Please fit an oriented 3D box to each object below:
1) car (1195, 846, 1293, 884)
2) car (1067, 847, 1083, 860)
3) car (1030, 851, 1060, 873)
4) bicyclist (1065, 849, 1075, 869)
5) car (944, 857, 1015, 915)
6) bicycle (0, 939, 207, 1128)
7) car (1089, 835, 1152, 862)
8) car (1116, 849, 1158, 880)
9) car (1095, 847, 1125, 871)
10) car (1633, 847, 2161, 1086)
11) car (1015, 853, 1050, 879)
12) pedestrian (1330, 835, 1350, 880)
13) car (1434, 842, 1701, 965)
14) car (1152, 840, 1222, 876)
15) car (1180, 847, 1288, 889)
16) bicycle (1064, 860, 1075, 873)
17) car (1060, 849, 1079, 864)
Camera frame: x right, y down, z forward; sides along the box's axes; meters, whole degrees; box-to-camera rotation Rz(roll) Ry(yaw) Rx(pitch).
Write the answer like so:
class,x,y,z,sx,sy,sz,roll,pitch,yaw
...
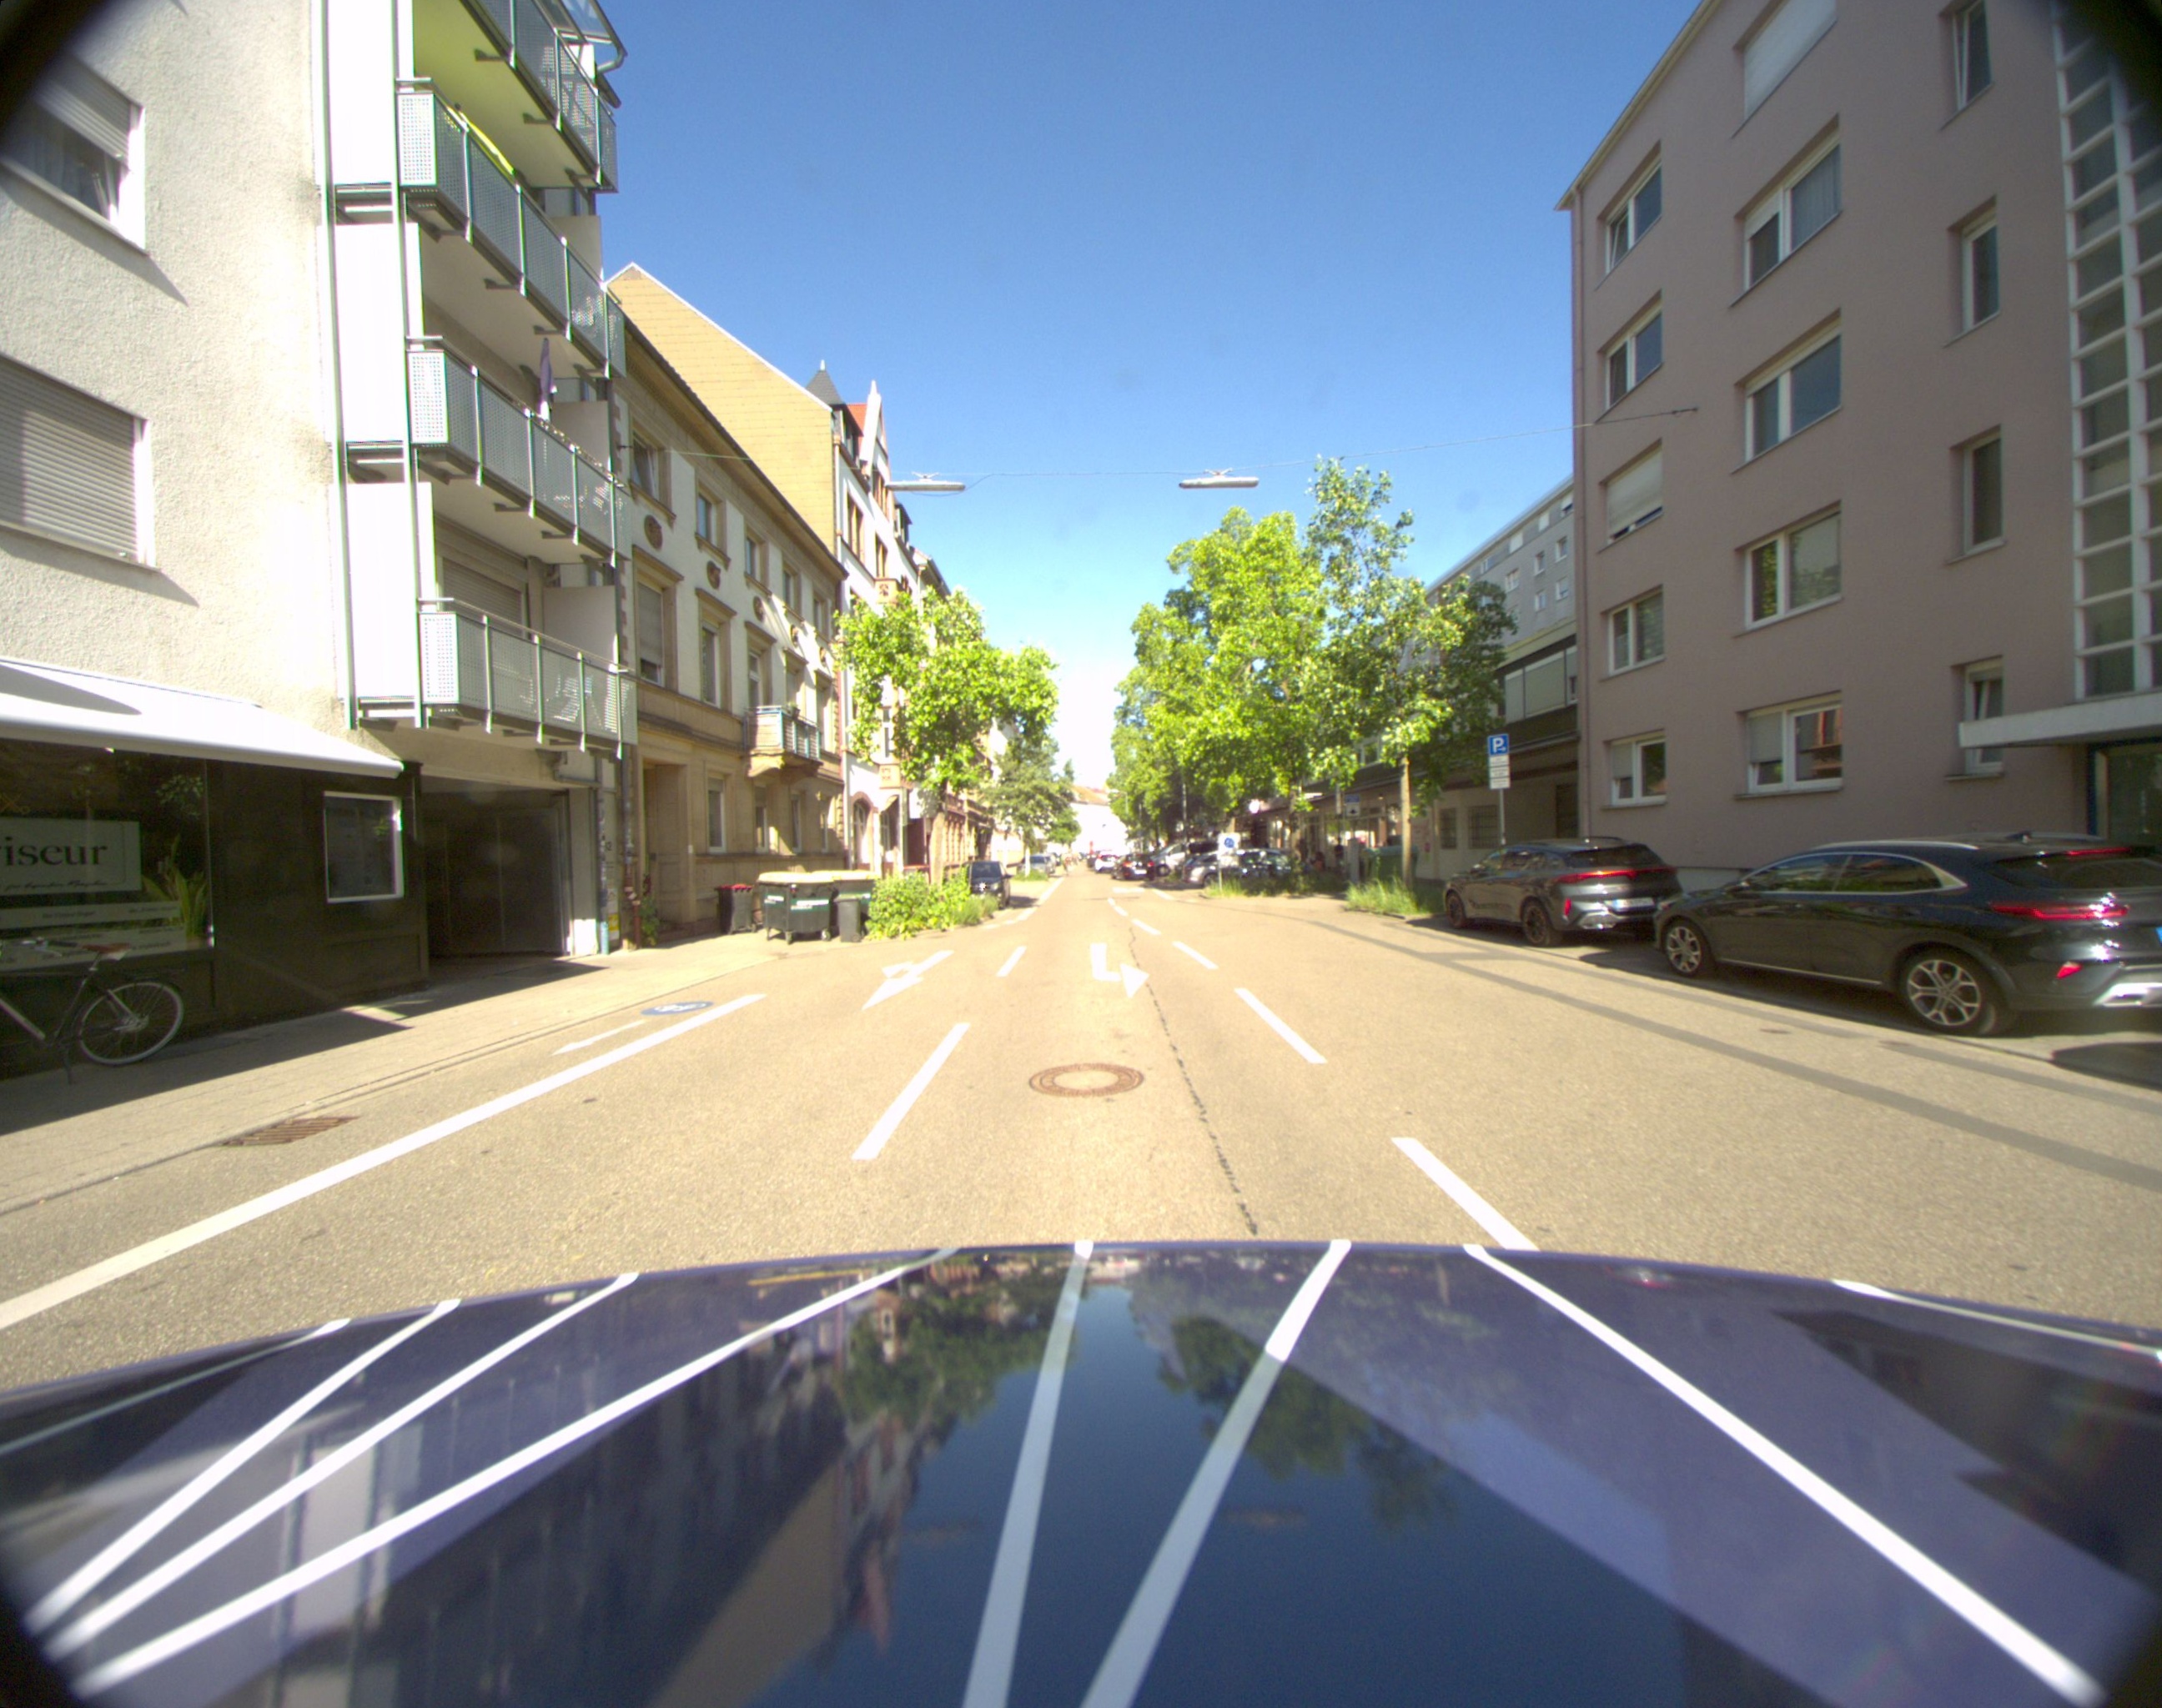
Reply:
class,x,y,z,sx,sy,sz,roll,pitch,yaw
car,7.237,0.481,34.086,3.996,1.543,1.913,-2,1,3
car,-0.686,-0.040,87.888,1.713,1.444,3.547,-2,0,3
car,-2.585,0.556,55.467,1.914,1.444,3.547,-2,0,1
bicyclist,-0.791,0.343,52.500,0.582,1.369,0.665,-1,1,6
car,-3.040,0.913,23.444,1.627,1.587,3.546,-2,0,1
bicycle,-7.651,1.293,5.496,0.598,1.137,1.774,1,1,1
car,3.725,-0.509,71.491,5.563,2.379,1.976,-2,1,-13
car,2.905,0.512,40.337,1.911,1.543,4.000,-2,0,0
car,1.951,0.303,52.643,1.911,1.543,4.000,-2,0,0
car,7.447,0.720,7.011,1.727,1.459,4.158,-4,0,2
car,-2.885,0.703,45.929,1.914,1.444,3.546,-2,0,-1
pedestrian,10.445,0.135,30.649,0.623,1.796,0.502,-2,1,2
car,7.551,0.661,12.370,1.727,1.567,4.158,-4,0,2
car,6.244,0.225,45.011,3.875,2.031,1.913,-2,1,3
car,6.110,0.560,30.720,3.996,1.543,1.913,-2,1,3
bicycle,-0.774,0.868,52.534,0.582,0.801,1.710,-1,1,6
car,-1.212,0.261,80.494,1.713,1.444,3.547,-2,0,2
